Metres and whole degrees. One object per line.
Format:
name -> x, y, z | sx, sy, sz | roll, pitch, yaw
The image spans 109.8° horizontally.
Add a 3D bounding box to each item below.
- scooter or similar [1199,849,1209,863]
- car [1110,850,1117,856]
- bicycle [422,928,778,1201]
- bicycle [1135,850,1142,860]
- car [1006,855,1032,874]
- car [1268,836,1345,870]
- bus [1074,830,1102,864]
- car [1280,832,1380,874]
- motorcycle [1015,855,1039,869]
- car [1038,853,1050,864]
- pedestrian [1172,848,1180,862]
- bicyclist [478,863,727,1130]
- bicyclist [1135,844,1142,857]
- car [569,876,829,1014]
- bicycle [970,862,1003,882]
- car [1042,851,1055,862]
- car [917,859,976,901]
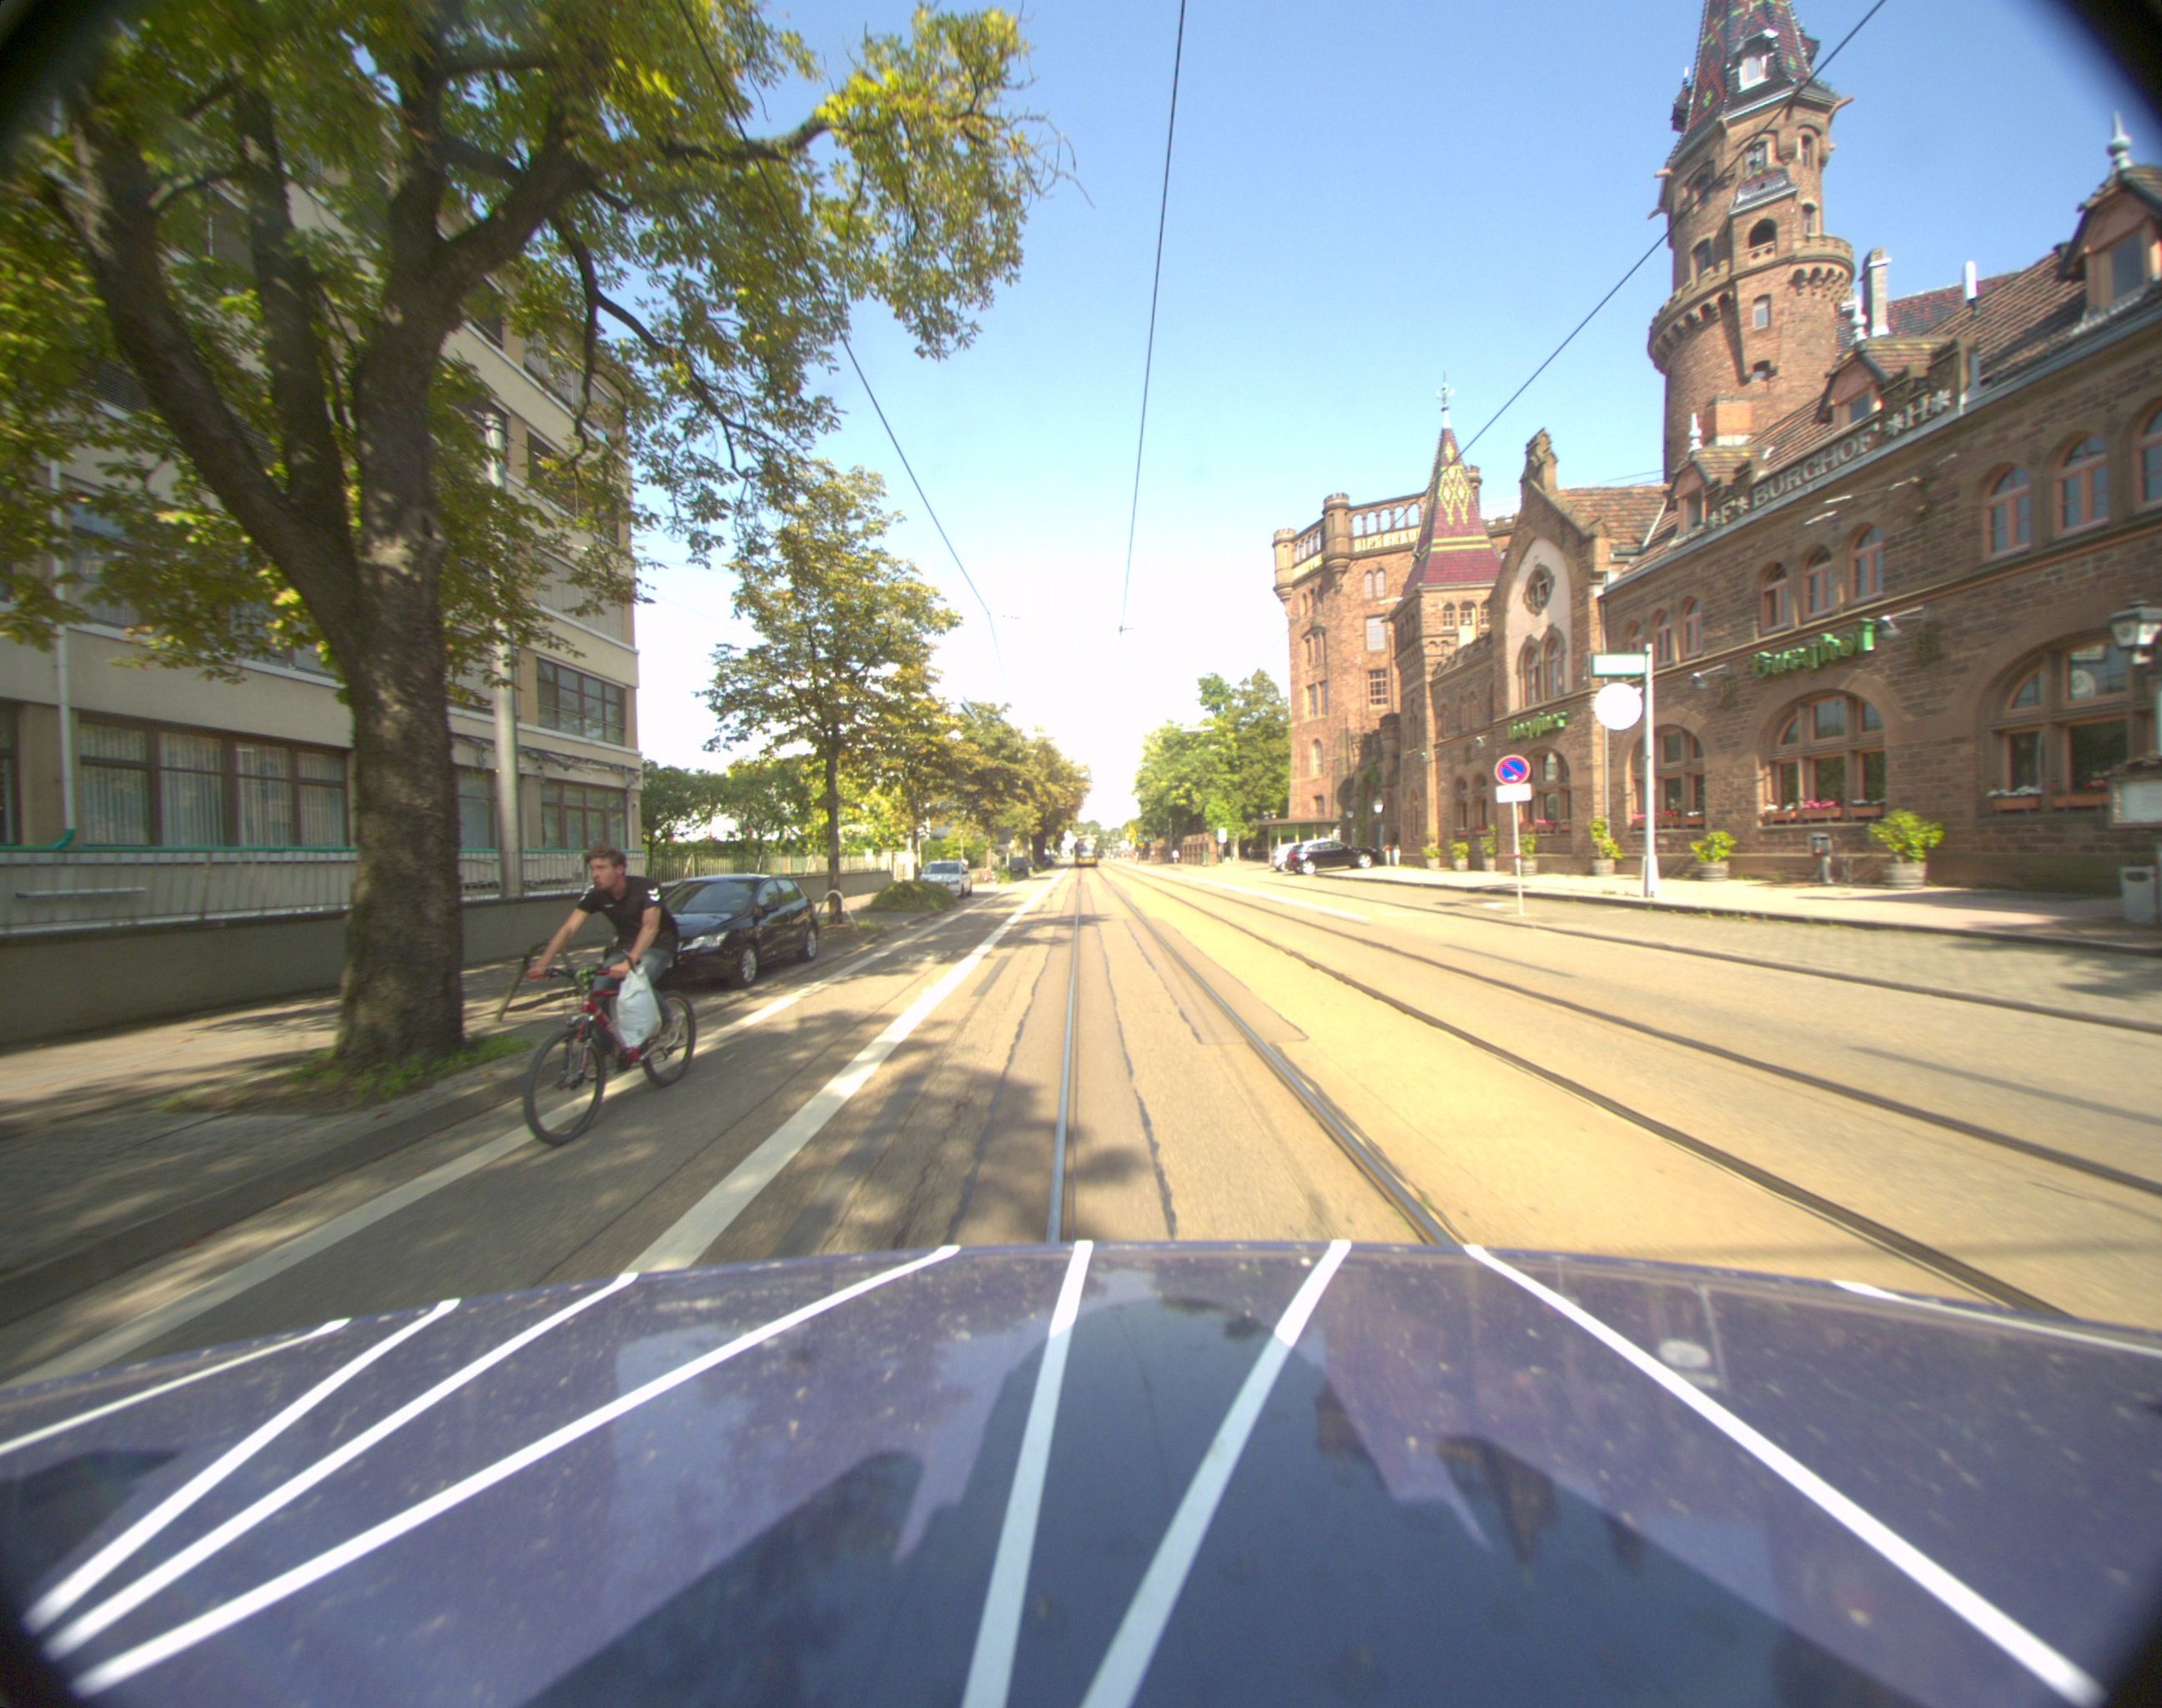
scooter or similar -> 10.586, 0.200, 65.514 | 0.818, 1.142, 0.283 | -6, 3, -36
car -> 8.938, -0.300, 210.155 | 1.695, 1.433, 4.000 | -1, 0, 0
bicycle -> -2.921, 1.194, 5.044 | 0.789, 1.138, 2.305 | -2, 1, 2
bicycle -> 7.401, 0.098, 97.440 | 0.699, 1.151, 2.037 | -1, 2, -2
car -> -4.885, 0.805, 60.056 | 1.745, 1.477, 4.436 | 0, 0, -1
car -> 13.277, -0.072, 44.839 | 3.908, 1.586, 1.823 | -6, 0, 3
bus -> 0.902, -0.836, 88.936 | 2.900, 3.771, 9.319 | -2, 1, 2
car -> 12.681, -0.047, 38.896 | 4.407, 1.636, 1.957 | -6, 1, 1
motorcycle -> -4.764, 0.731, 67.087 | 1.984, 1.218, 0.647 | -1, 1, 25
car -> -4.840, 0.551, 100.081 | 1.566, 1.433, 3.563 | 1, 1, -2
pedestrian -> 10.291, 0.112, 82.531 | 0.717, 1.580, 0.775 | -2, 1, 0
bicyclist -> -2.946, 0.810, 4.824 | 0.789, 1.461, 1.116 | -2, 1, 2
bicyclist -> 7.398, -0.459, 97.407 | 0.699, 1.572, 1.086 | -1, 2, -2
car -> -5.045, 1.103, 10.747 | 1.650, 1.420, 4.084 | 0, 0, -1
bicycle -> -5.201, 0.984, 41.900 | 1.773, 1.058, 0.796 | 0, 1, -2
car -> -4.778, 0.378, 111.983 | 1.866, 1.643, 4.183 | 0, 1, -1
car -> -5.105, 0.953, 29.367 | 1.644, 1.421, 3.988 | -1, 1, -2
